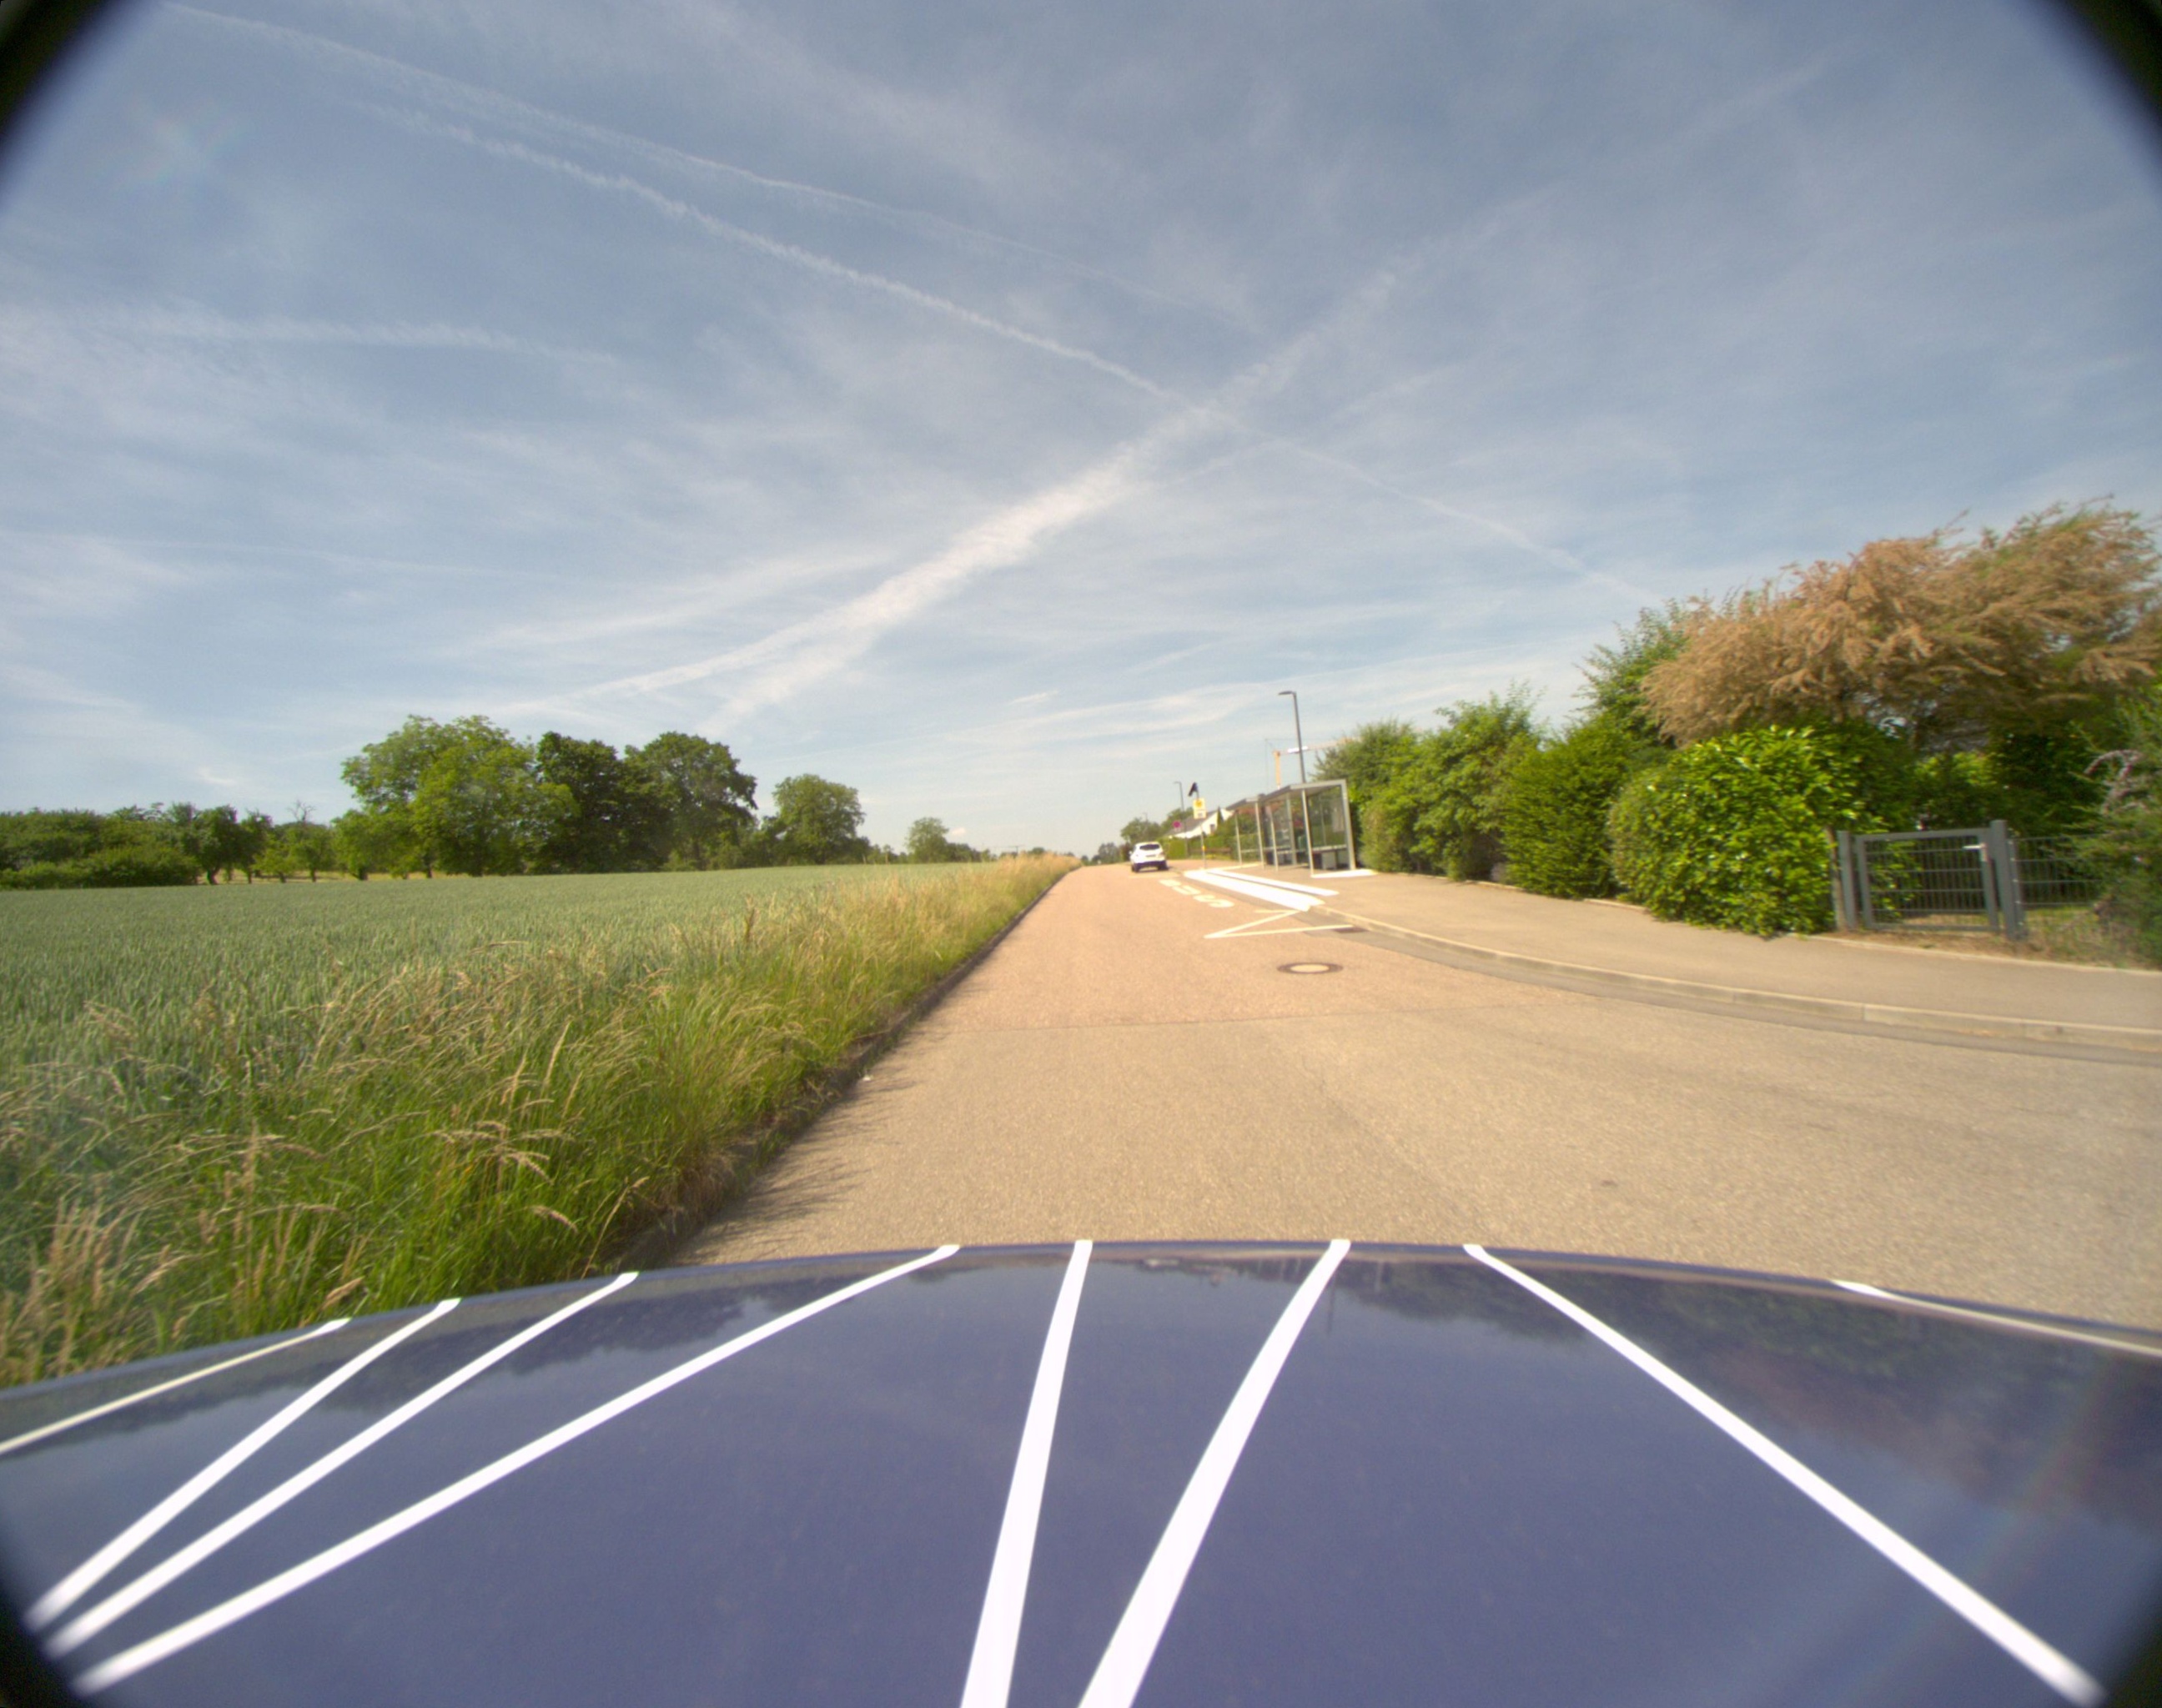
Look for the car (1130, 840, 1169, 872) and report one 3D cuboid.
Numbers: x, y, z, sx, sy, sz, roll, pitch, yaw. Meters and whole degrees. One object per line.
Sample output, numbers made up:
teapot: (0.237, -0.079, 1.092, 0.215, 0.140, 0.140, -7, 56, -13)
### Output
car: (3.867, 0.089, 43.726, 1.738, 1.624, 4.352, -5, 1, 0)
